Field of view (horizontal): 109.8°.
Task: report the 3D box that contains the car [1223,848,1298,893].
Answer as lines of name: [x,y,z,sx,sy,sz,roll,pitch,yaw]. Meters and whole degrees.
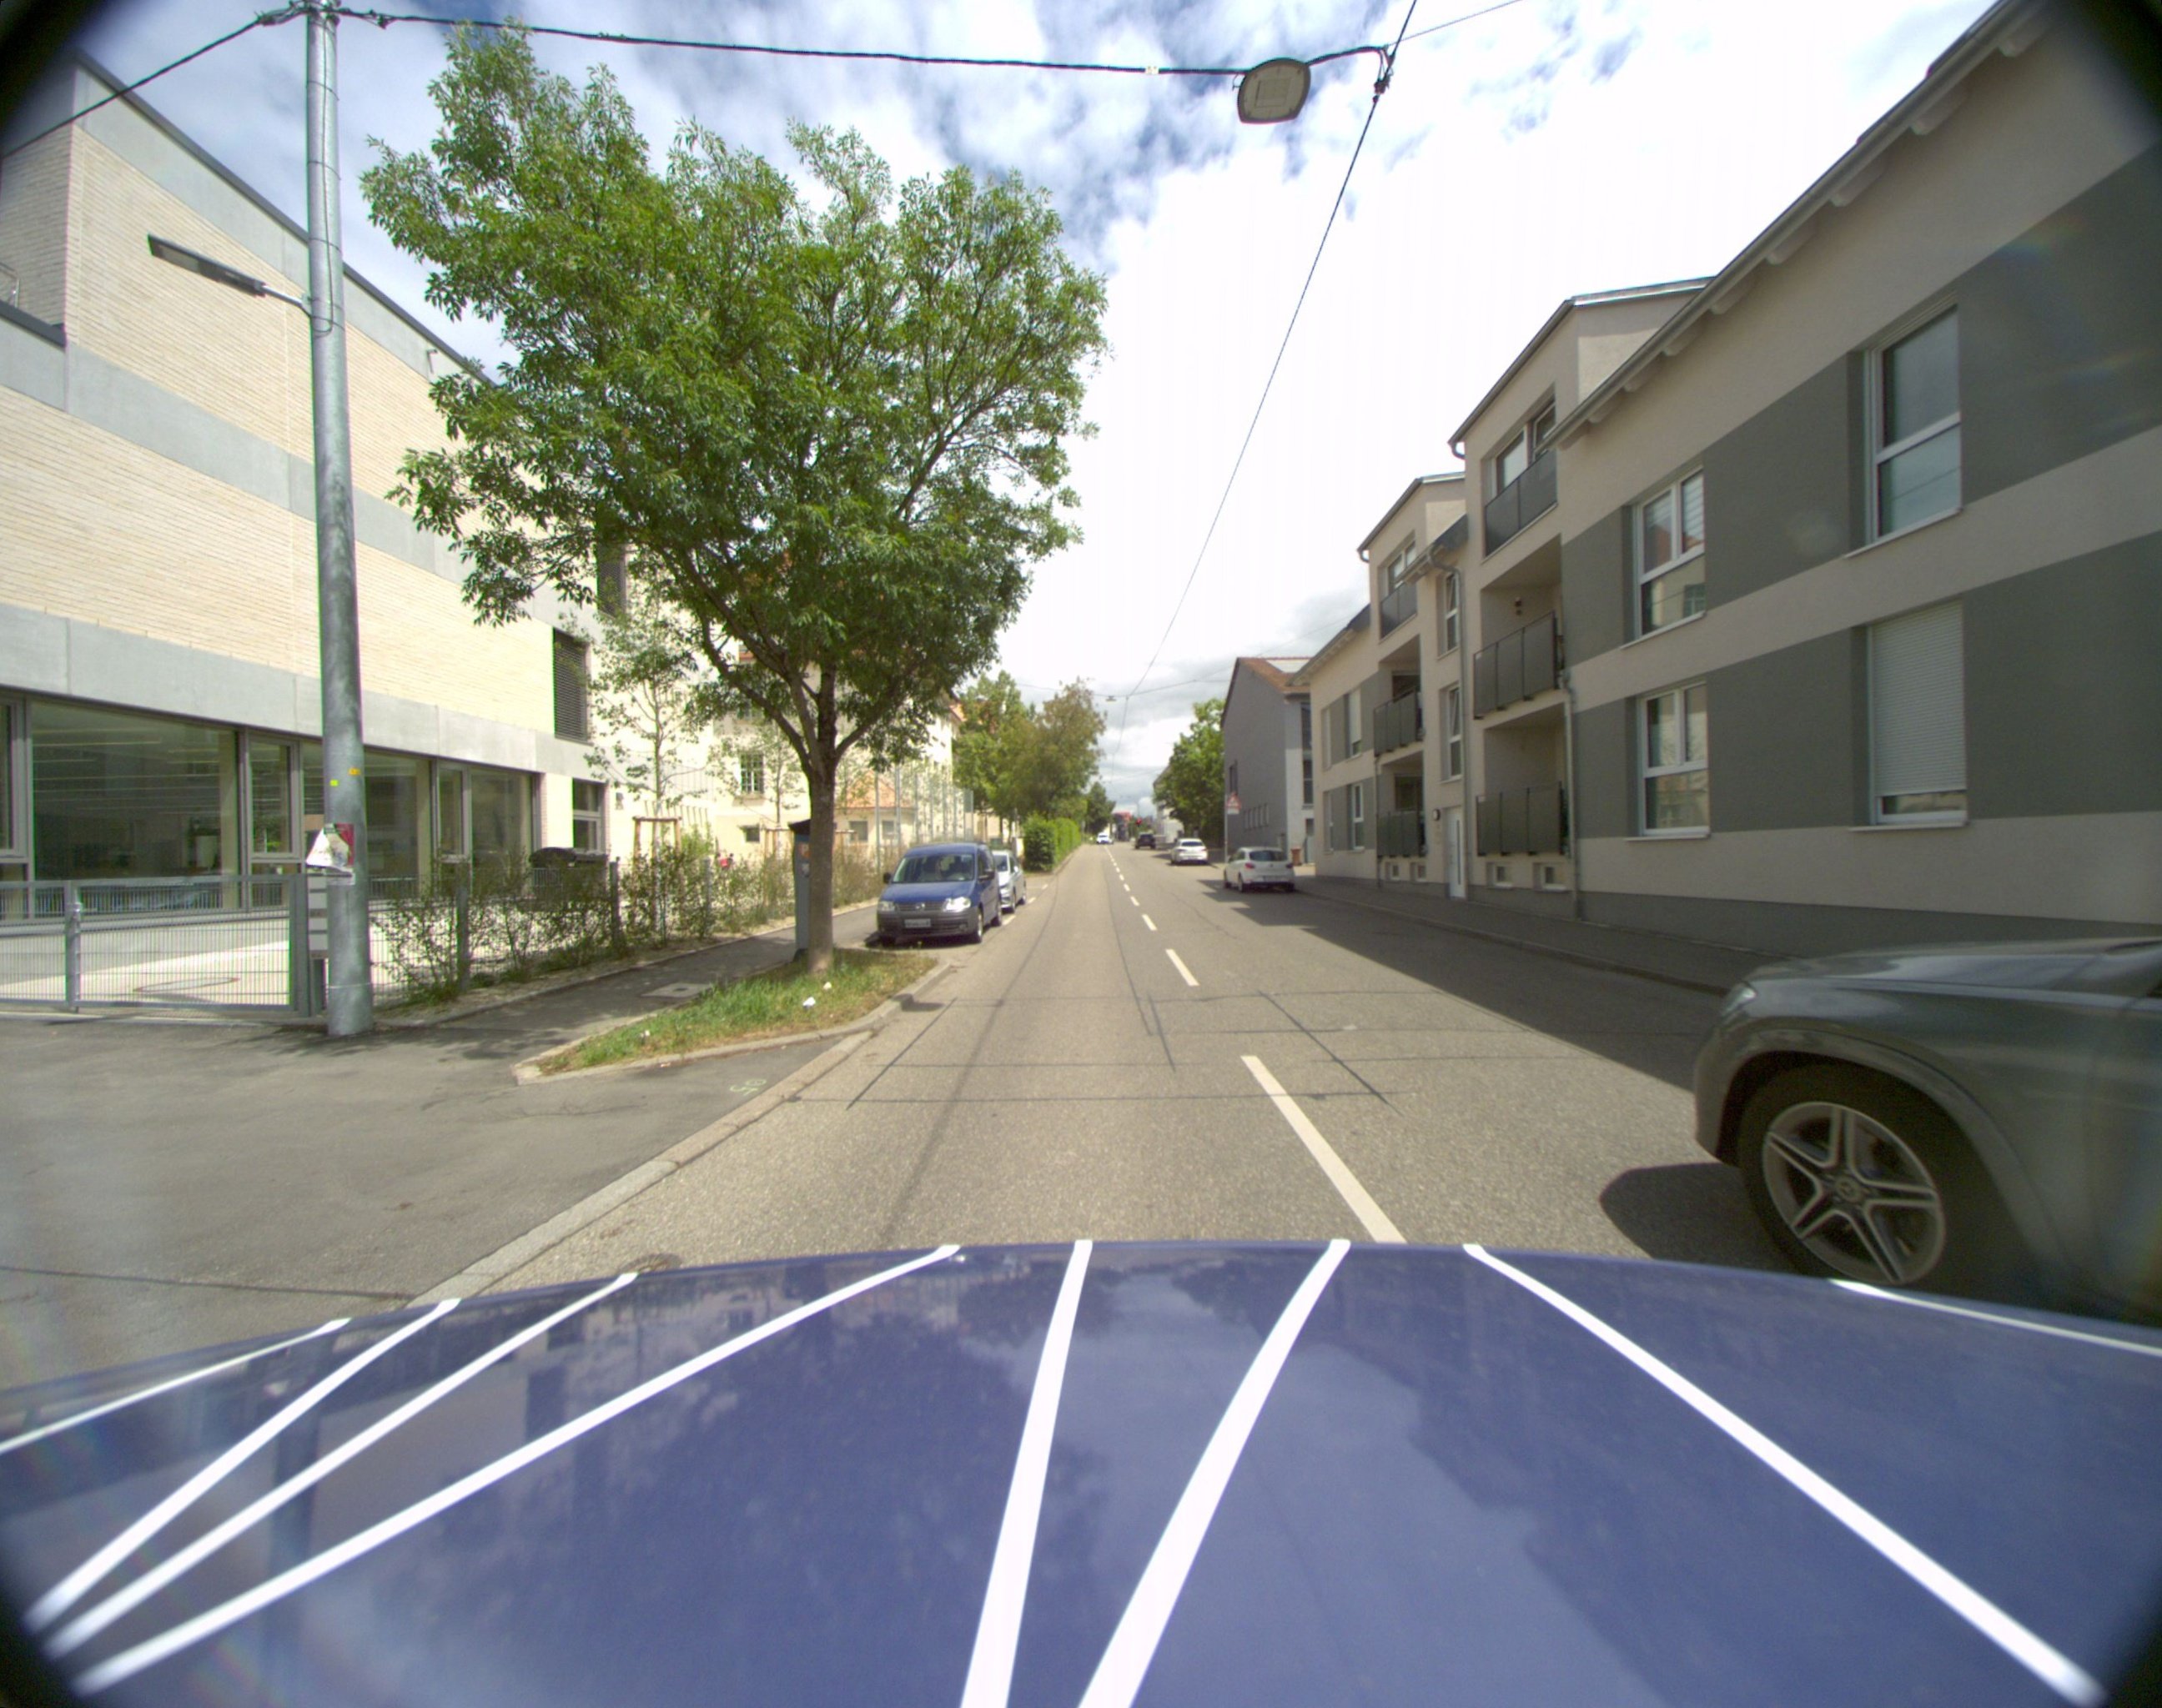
car: [5.753,0.492,24.716,1.665,1.322,3.473,-2,1,1]

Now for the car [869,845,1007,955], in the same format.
car: [-2.514,0.735,14.351,1.698,1.733,4.159,-2,1,1]

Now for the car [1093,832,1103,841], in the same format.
car: [2.237,-2.319,99.716,1.298,1.148,2.982,-2,1,1]

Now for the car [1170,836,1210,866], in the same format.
car: [6.077,-0.208,42.675,1.737,1.480,4.065,0,2,1]

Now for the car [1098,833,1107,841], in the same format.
car: [3.296,-2.569,117.123,1.298,1.148,2.982,-2,1,1]

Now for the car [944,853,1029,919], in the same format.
car: [-2.386,0.772,20.037,1.677,1.510,3.670,-2,1,1]

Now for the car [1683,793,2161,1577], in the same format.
car: [3.381,0.709,0.640,1.946,1.709,4.595,-1,0,-3]

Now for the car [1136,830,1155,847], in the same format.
car: [6.437,-1.555,75.840,1.672,1.545,3.964,0,2,1]

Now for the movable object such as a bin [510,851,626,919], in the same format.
movable object such as a bin: [-11.641,0.661,17.351,1.351,1.438,1.807,-1,0,2]
